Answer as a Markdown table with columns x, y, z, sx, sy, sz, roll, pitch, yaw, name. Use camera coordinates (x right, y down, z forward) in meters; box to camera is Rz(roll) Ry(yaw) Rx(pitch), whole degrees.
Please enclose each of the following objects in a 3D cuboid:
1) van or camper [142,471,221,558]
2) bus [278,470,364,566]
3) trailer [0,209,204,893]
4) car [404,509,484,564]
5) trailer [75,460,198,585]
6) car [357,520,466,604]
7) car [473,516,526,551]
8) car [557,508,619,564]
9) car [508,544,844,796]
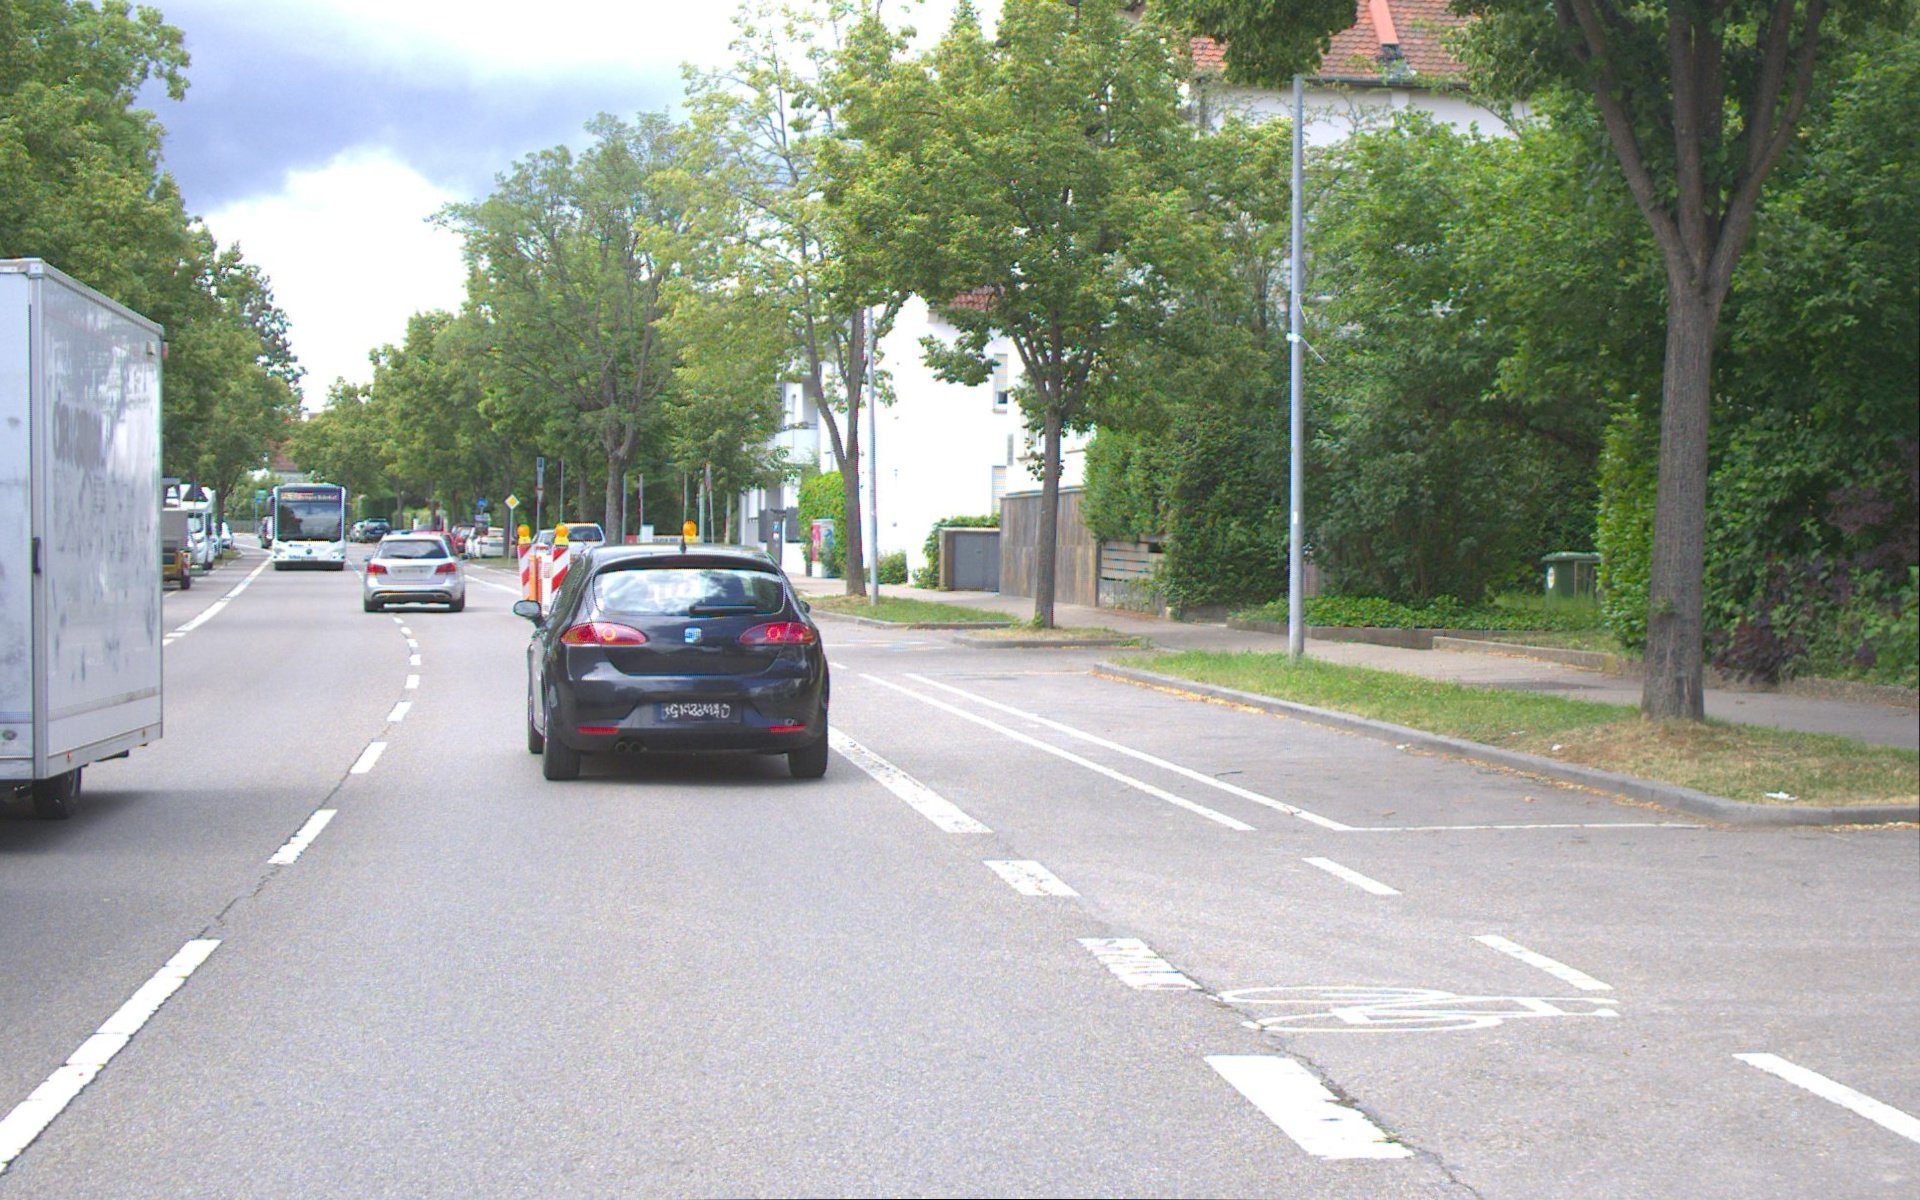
| x | y | z | sx | sy | sz | roll | pitch | yaw | name |
| --- | --- | --- | --- | --- | --- | --- | --- | --- | --- |
| -27.694 | -3.051 | 122.468 | 2.434 | 2.999 | 7.695 | 0 | 1 | -10 | van or camper |
| -23.741 | -2.961 | 128.274 | 2.804 | 3.277 | 18.050 | 1 | 1 | -10 | bus |
| -5.647 | -0.278 | 17.722 | 2.634 | 2.869 | 6.872 | 0 | 1 | -6 | trailer |
| -14.802 | -1.827 | 98.465 | 1.993 | 1.525 | 4.001 | 0 | 1 | -12 | car |
| -20.429 | -1.897 | 85.615 | 2.673 | 2.931 | 7.478 | 1 | 1 | -11 | trailer |
| -10.507 | -0.754 | 65.926 | 1.993 | 1.552 | 4.001 | 0 | 1 | -9 | car |
| -19.878 | -2.876 | 148.186 | 2.020 | 1.438 | 5.026 | 1 | 1 | -10 | car |
| -11.413 | -1.969 | 105.266 | 1.632 | 1.660 | 3.649 | 0 | 1 | -10 | car |
| -1.887 | 0.380 | 21.892 | 1.782 | 1.444 | 3.559 | 0 | 1 | -10 | car |
